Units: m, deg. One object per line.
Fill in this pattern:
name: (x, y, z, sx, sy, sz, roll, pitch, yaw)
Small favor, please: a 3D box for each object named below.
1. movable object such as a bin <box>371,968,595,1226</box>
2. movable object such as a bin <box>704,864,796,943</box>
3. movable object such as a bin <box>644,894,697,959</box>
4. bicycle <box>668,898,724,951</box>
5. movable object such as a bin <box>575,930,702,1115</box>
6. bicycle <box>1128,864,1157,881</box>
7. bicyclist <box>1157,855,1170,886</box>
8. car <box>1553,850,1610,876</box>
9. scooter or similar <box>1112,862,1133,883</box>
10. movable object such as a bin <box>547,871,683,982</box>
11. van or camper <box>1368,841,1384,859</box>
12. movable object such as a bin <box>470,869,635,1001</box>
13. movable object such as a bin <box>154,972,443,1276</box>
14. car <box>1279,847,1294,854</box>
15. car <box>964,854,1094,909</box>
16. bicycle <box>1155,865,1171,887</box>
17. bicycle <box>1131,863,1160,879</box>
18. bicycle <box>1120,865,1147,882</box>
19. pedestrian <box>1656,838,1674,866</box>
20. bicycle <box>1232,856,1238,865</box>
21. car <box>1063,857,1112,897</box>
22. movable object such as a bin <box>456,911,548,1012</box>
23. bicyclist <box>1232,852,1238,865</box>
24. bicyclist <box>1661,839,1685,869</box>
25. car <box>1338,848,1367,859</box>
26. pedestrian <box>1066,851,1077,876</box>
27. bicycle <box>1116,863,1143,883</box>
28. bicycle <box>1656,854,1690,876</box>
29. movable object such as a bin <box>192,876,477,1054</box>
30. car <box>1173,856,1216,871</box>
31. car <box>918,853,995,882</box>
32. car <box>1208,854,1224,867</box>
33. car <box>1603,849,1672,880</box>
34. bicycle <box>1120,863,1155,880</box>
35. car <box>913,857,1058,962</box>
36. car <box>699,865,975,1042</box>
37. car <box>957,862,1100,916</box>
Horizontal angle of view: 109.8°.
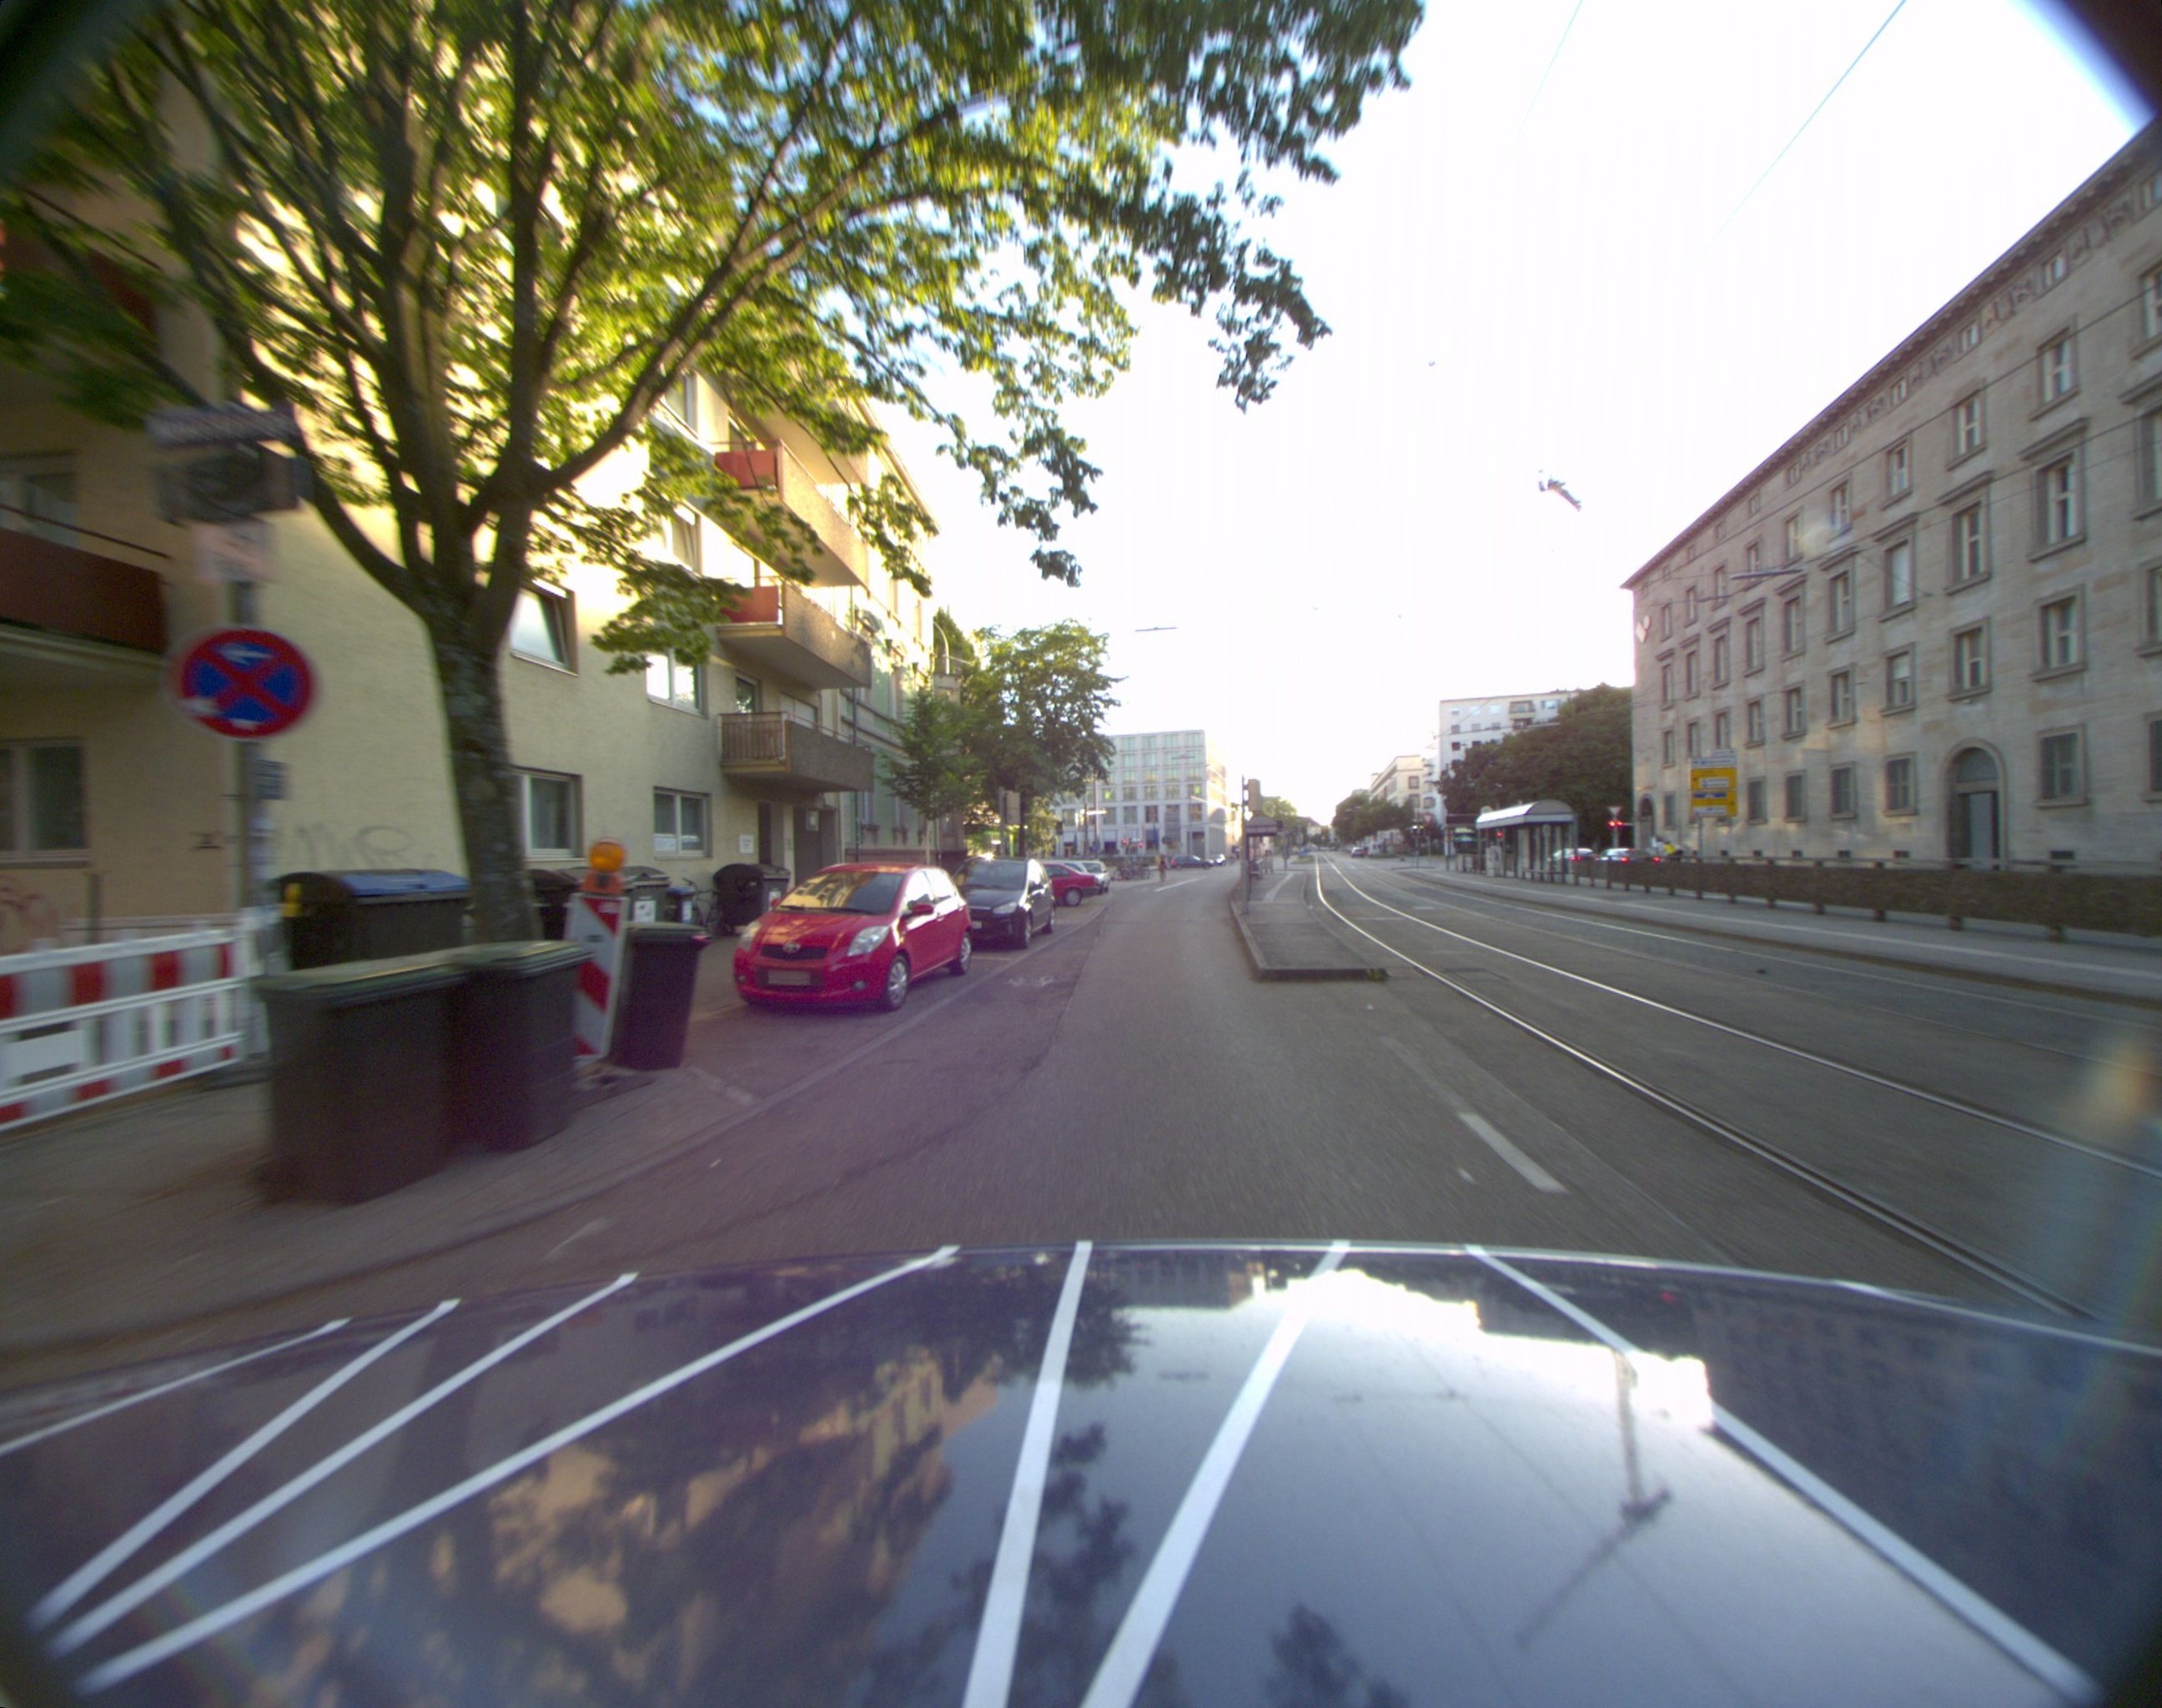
movable object such as a bin: (-3.141, 1.222, 4.025, 0.713, 1.147, 0.589, -2, 0, 16)
movable object such as a bin: (-6.719, 0.981, 15.525, 1.116, 1.493, 1.482, -2, 0, 3)
movable object such as a bin: (-6.971, 1.216, 12.916, 0.555, 1.041, 0.571, -2, 0, 3)
bicycle: (-7.066, 1.271, 13.985, 0.414, 0.859, 1.225, -2, 0, -2)
movable object such as a bin: (-3.224, 1.169, 5.534, 0.624, 1.147, 0.714, -2, 1, -43)
bicycle: (4.090, 1.231, 50.380, 1.757, 1.068, 0.745, -2, 0, 19)
bicyclist: (4.485, 0.892, 41.471, 0.609, 1.626, 0.597, -1, 0, 12)
car: (28.960, 0.480, 44.100, 1.645, 1.419, 4.237, -2, 0, 17)
scooter or similar: (2.569, 1.133, 46.934, 1.201, 1.218, 0.591, 0, 1, 18)
movable object such as a bin: (-6.837, 1.032, 11.245, 1.143, 1.493, 1.271, -2, 0, 3)
van or camper: (48.226, -0.674, 124.360, 2.107, 2.664, 4.718, -2, -2, 19)
movable object such as a bin: (-6.567, 0.968, 9.547, 1.074, 1.493, 1.319, -2, 0, 2)
movable object such as a bin: (-3.568, 1.167, 3.499, 0.794, 1.147, 0.589, -2, 0, 16)
car: (53.372, -0.967, 197.380, 3.802, 1.639, 1.866, -2, 0, 17)
car: (-1.824, 0.912, 26.925, 4.215, 1.715, 1.718, -2, 0, -25)
bicycle: (4.494, 1.177, 41.528, 0.609, 1.108, 2.088, -2, 0, 12)
bicycle: (4.445, 1.172, 52.190, 1.861, 1.068, 0.745, -2, 0, 35)
bicycle: (3.371, 1.264, 48.808, 1.553, 1.068, 0.745, -2, 0, 19)
pedestrian: (36.989, -0.120, 48.141, 0.696, 1.700, 0.647, -1, 0, 20)
bicycle: (19.558, 0.792, 96.406, 0.539, 1.045, 1.763, -2, 0, 18)
car: (0.333, 0.958, 33.200, 1.683, 1.544, 4.002, 1, 0, 6)
movable object such as a bin: (-6.498, 1.193, 8.544, 0.555, 1.041, 0.571, -2, 0, 3)
bicyclist: (19.537, 0.516, 96.375, 0.540, 1.626, 0.598, -1, 0, 17)
bicyclist: (29.067, 0.014, 37.328, 0.757, 1.432, 0.598, -1, 0, 17)
car: (43.890, -0.017, 122.831, 1.889, 1.654, 4.338, -2, 0, -22)
pedestrian: (-0.713, 0.686, 55.544, 0.708, 1.757, 0.989, -2, 0, 2)
bicycle: (3.040, 1.192, 47.797, 1.528, 1.156, 0.745, -2, 0, 19)
bicycle: (29.089, 0.536, 37.342, 0.742, 1.011, 1.763, -2, 0, 18)
movable object such as a bin: (-7.200, 1.002, 7.477, 1.143, 1.493, 1.598, -2, 0, 3)
car: (11.293, 0.911, 75.629, 4.167, 1.412, 1.699, -1, 0, 9)
car: (-7.238, 0.789, 44.122, 3.989, 1.564, 1.806, -2, -1, 17)
car: (17.645, 0.866, 99.553, 1.815, 1.513, 4.813, -3, -1, 8)
car: (27.610, 0.503, 37.814, 1.645, 1.419, 3.710, -2, 0, 17)
bicycle: (3.800, 1.156, 51.336, 2.233, 1.125, 0.745, 0, 1, 19)
car: (-1.612, 0.900, 14.261, 1.747, 1.622, 4.090, 1, 0, 7)
car: (-2.536, 0.936, 8.859, 1.567, 1.527, 3.695, 1, 0, 9)
car: (-1.648, 1.065, 24.218, 4.215, 1.445, 1.642, -2, 0, -26)
